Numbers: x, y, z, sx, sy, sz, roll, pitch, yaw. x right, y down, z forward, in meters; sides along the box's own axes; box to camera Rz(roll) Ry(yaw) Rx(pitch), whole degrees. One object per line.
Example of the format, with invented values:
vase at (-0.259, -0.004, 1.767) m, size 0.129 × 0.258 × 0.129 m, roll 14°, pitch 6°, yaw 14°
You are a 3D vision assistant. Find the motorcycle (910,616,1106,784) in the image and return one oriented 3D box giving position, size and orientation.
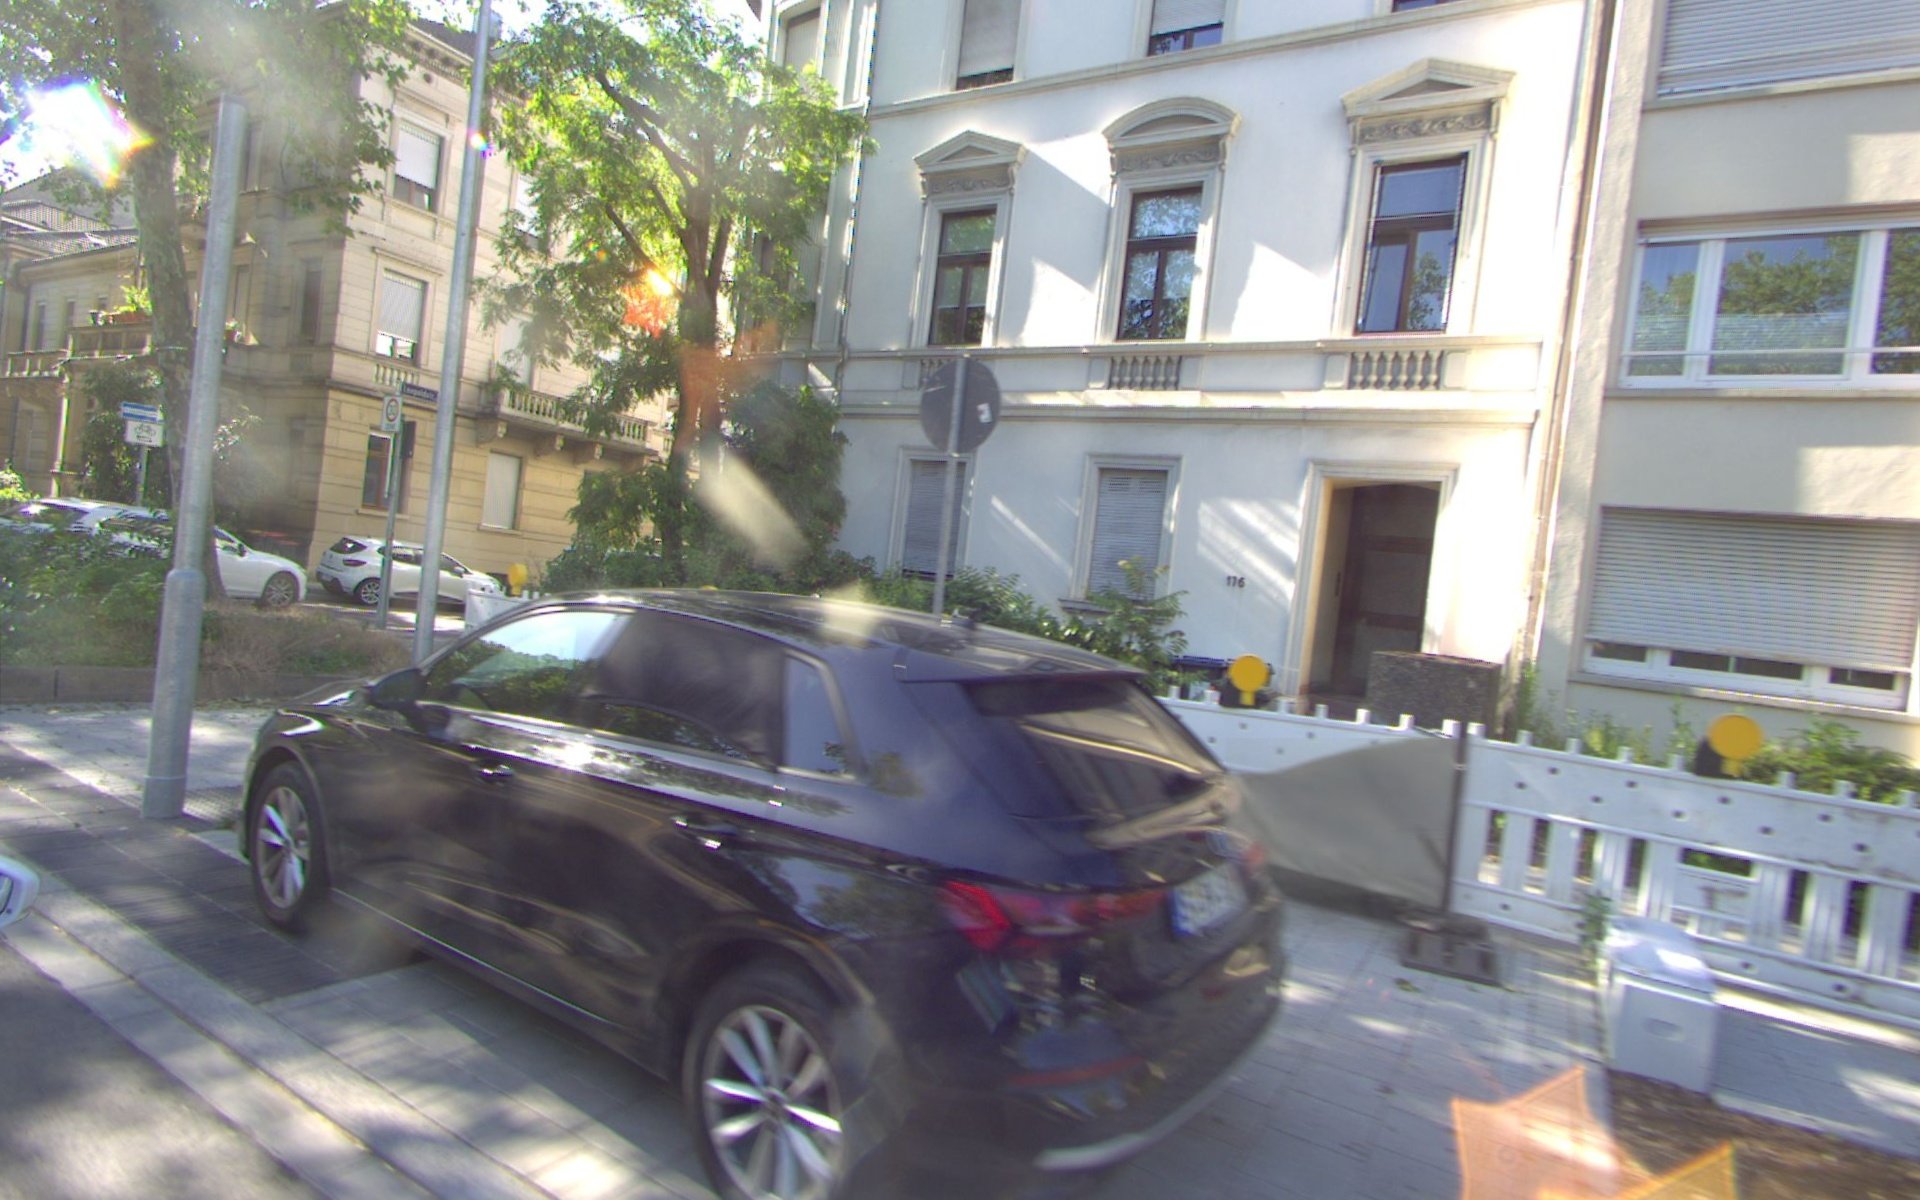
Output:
motorcycle at (0.399, 0.840, 8.800) m, size 1.532 × 1.201 × 0.596 m, roll 7°, pitch 1°, yaw 38°

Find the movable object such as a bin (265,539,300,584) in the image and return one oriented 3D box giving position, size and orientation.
movable object such as a bin at (-16.184, -0.915, 24.041) m, size 0.392 × 0.983 × 0.519 m, roll 7°, pitch 1°, yaw 34°

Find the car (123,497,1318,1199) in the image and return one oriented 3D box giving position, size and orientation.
car at (-1.077, 0.594, 3.535) m, size 4.029 × 1.505 × 1.620 m, roll 7°, pitch 2°, yaw 32°

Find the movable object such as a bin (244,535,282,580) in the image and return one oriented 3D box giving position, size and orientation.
movable object such as a bin at (-16.786, -1.025, 24.226) m, size 0.539 × 0.983 × 0.519 m, roll 7°, pitch 1°, yaw 34°

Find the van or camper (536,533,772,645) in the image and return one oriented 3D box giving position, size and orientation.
van or camper at (-6.844, -0.157, 23.114) m, size 1.869 × 2.039 × 5.018 m, roll 7°, pitch 0°, yaw 33°

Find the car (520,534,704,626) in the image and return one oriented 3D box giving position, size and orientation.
car at (-9.809, -0.501, 28.691) m, size 1.996 × 2.038 × 4.530 m, roll 7°, pitch 0°, yaw 35°

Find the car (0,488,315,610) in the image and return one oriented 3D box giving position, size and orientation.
car at (-12.781, -0.711, 16.086) m, size 1.804 × 1.504 × 4.059 m, roll 5°, pitch -1°, yaw 10°

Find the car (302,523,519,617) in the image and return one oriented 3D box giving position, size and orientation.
car at (-12.775, -0.640, 23.609) m, size 1.842 × 1.580 × 3.934 m, roll 9°, pitch 1°, yaw 33°

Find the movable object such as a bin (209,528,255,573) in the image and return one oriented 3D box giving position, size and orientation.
movable object such as a bin at (-17.489, -1.185, 24.159) m, size 0.539 × 0.983 × 0.687 m, roll 7°, pitch 1°, yaw 34°
